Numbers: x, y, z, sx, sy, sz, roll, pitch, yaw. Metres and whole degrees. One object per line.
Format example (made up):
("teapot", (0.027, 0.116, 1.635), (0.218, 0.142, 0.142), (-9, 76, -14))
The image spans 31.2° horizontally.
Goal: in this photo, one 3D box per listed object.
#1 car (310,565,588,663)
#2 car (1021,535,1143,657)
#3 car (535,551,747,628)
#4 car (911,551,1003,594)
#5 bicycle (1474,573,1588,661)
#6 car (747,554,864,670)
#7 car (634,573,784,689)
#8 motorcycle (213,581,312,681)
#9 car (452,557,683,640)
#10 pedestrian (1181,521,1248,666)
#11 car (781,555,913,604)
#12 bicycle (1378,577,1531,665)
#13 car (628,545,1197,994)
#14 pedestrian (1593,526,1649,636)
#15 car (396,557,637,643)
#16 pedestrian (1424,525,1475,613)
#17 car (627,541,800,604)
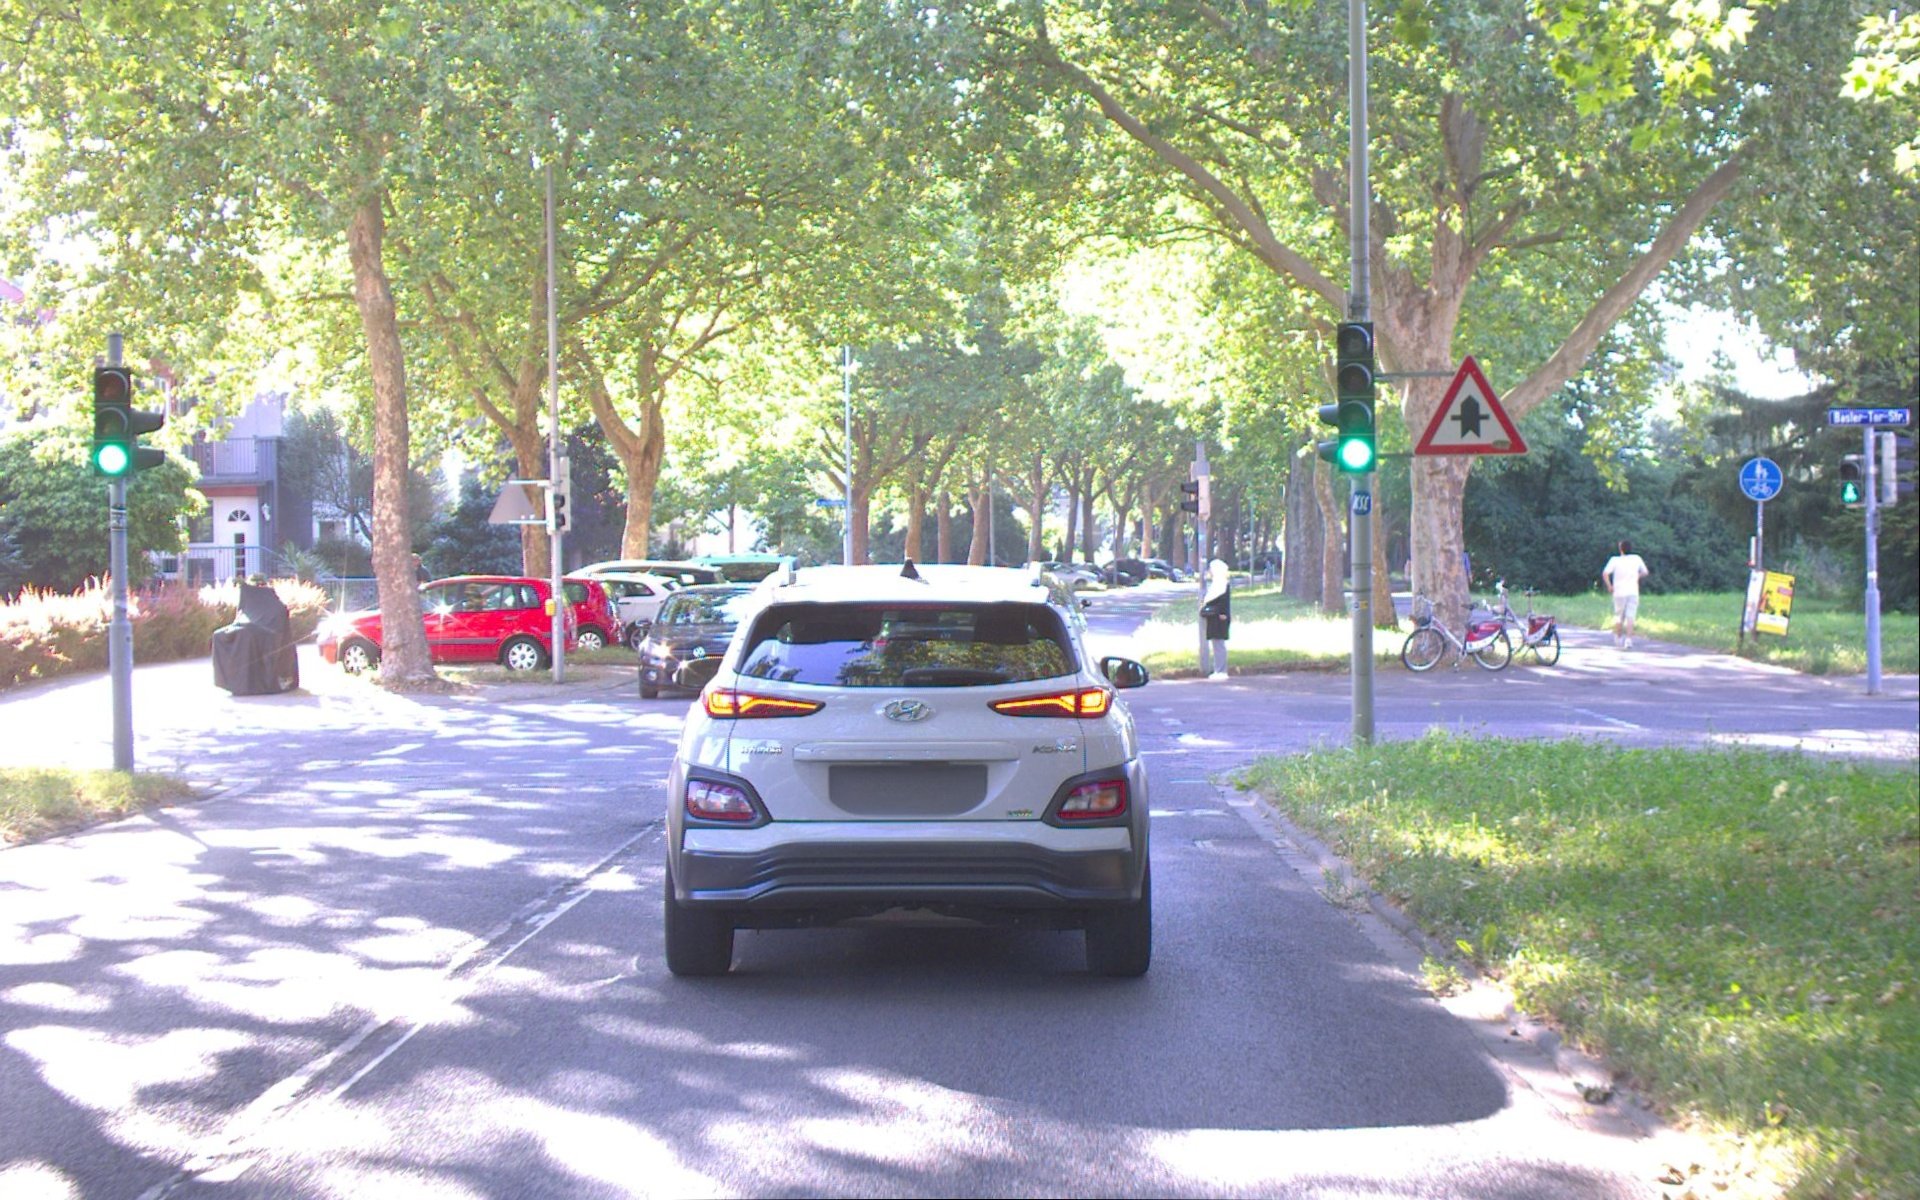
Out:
("car", (-7.889, 0.211, 53.342), (3.987, 1.473, 2.000), (0, 0, 1))
("car", (2.064, -0.092, 58.898), (1.993, 2.007, 4.000), (-1, 1, 1))
("car", (-6.299, -0.204, 68.269), (3.987, 1.473, 2.000), (0, 0, 1))
("car", (-0.144, -1.175, 144.923), (3.668, 1.802, 1.749), (0, 1, -9))
("bicycle", (7.869, 0.229, 47.480), (0.603, 1.179, 2.119), (0, 0, -19))
("car", (-2.567, 0.192, 57.919), (1.791, 1.875, 4.000), (0, 0, 0))
("car", (-3.307, 0.382, 45.798), (1.688, 1.432, 3.682), (0, 1, 1))
("motorcycle", (-9.869, 0.421, 48.759), (0.846, 1.374, 2.776), (0, 0, 0))
("car", (-7.178, -0.023, 63.162), (3.987, 1.473, 2.000), (0, 0, 1))
("pedestrian", (3.573, -0.095, 48.289), (0.868, 2.007, 0.813), (0, 0, 8))
("car", (-3.490, -0.636, 106.772), (3.987, 1.473, 2.000), (0, 0, 1))
("bicycle", (6.716, 0.275, 46.764), (0.603, 1.160, 2.149), (1, 0, -43))
("car", (-0.180, 0.590, 14.113), (1.993, 1.569, 4.000), (0, 0, 0))
("pedestrian", (10.515, -0.303, 54.737), (0.834, 1.730, 0.885), (0, 0, 9))
("car", (-7.827, 0.000, 60.941), (3.987, 1.473, 2.000), (0, 0, 1))
("pedestrian", (11.410, -0.717, 80.121), (1.095, 2.007, 1.105), (-2, 1, 7))
("car", (-5.913, -0.648, 82.873), (3.987, 1.473, 2.000), (0, 0, 1))
